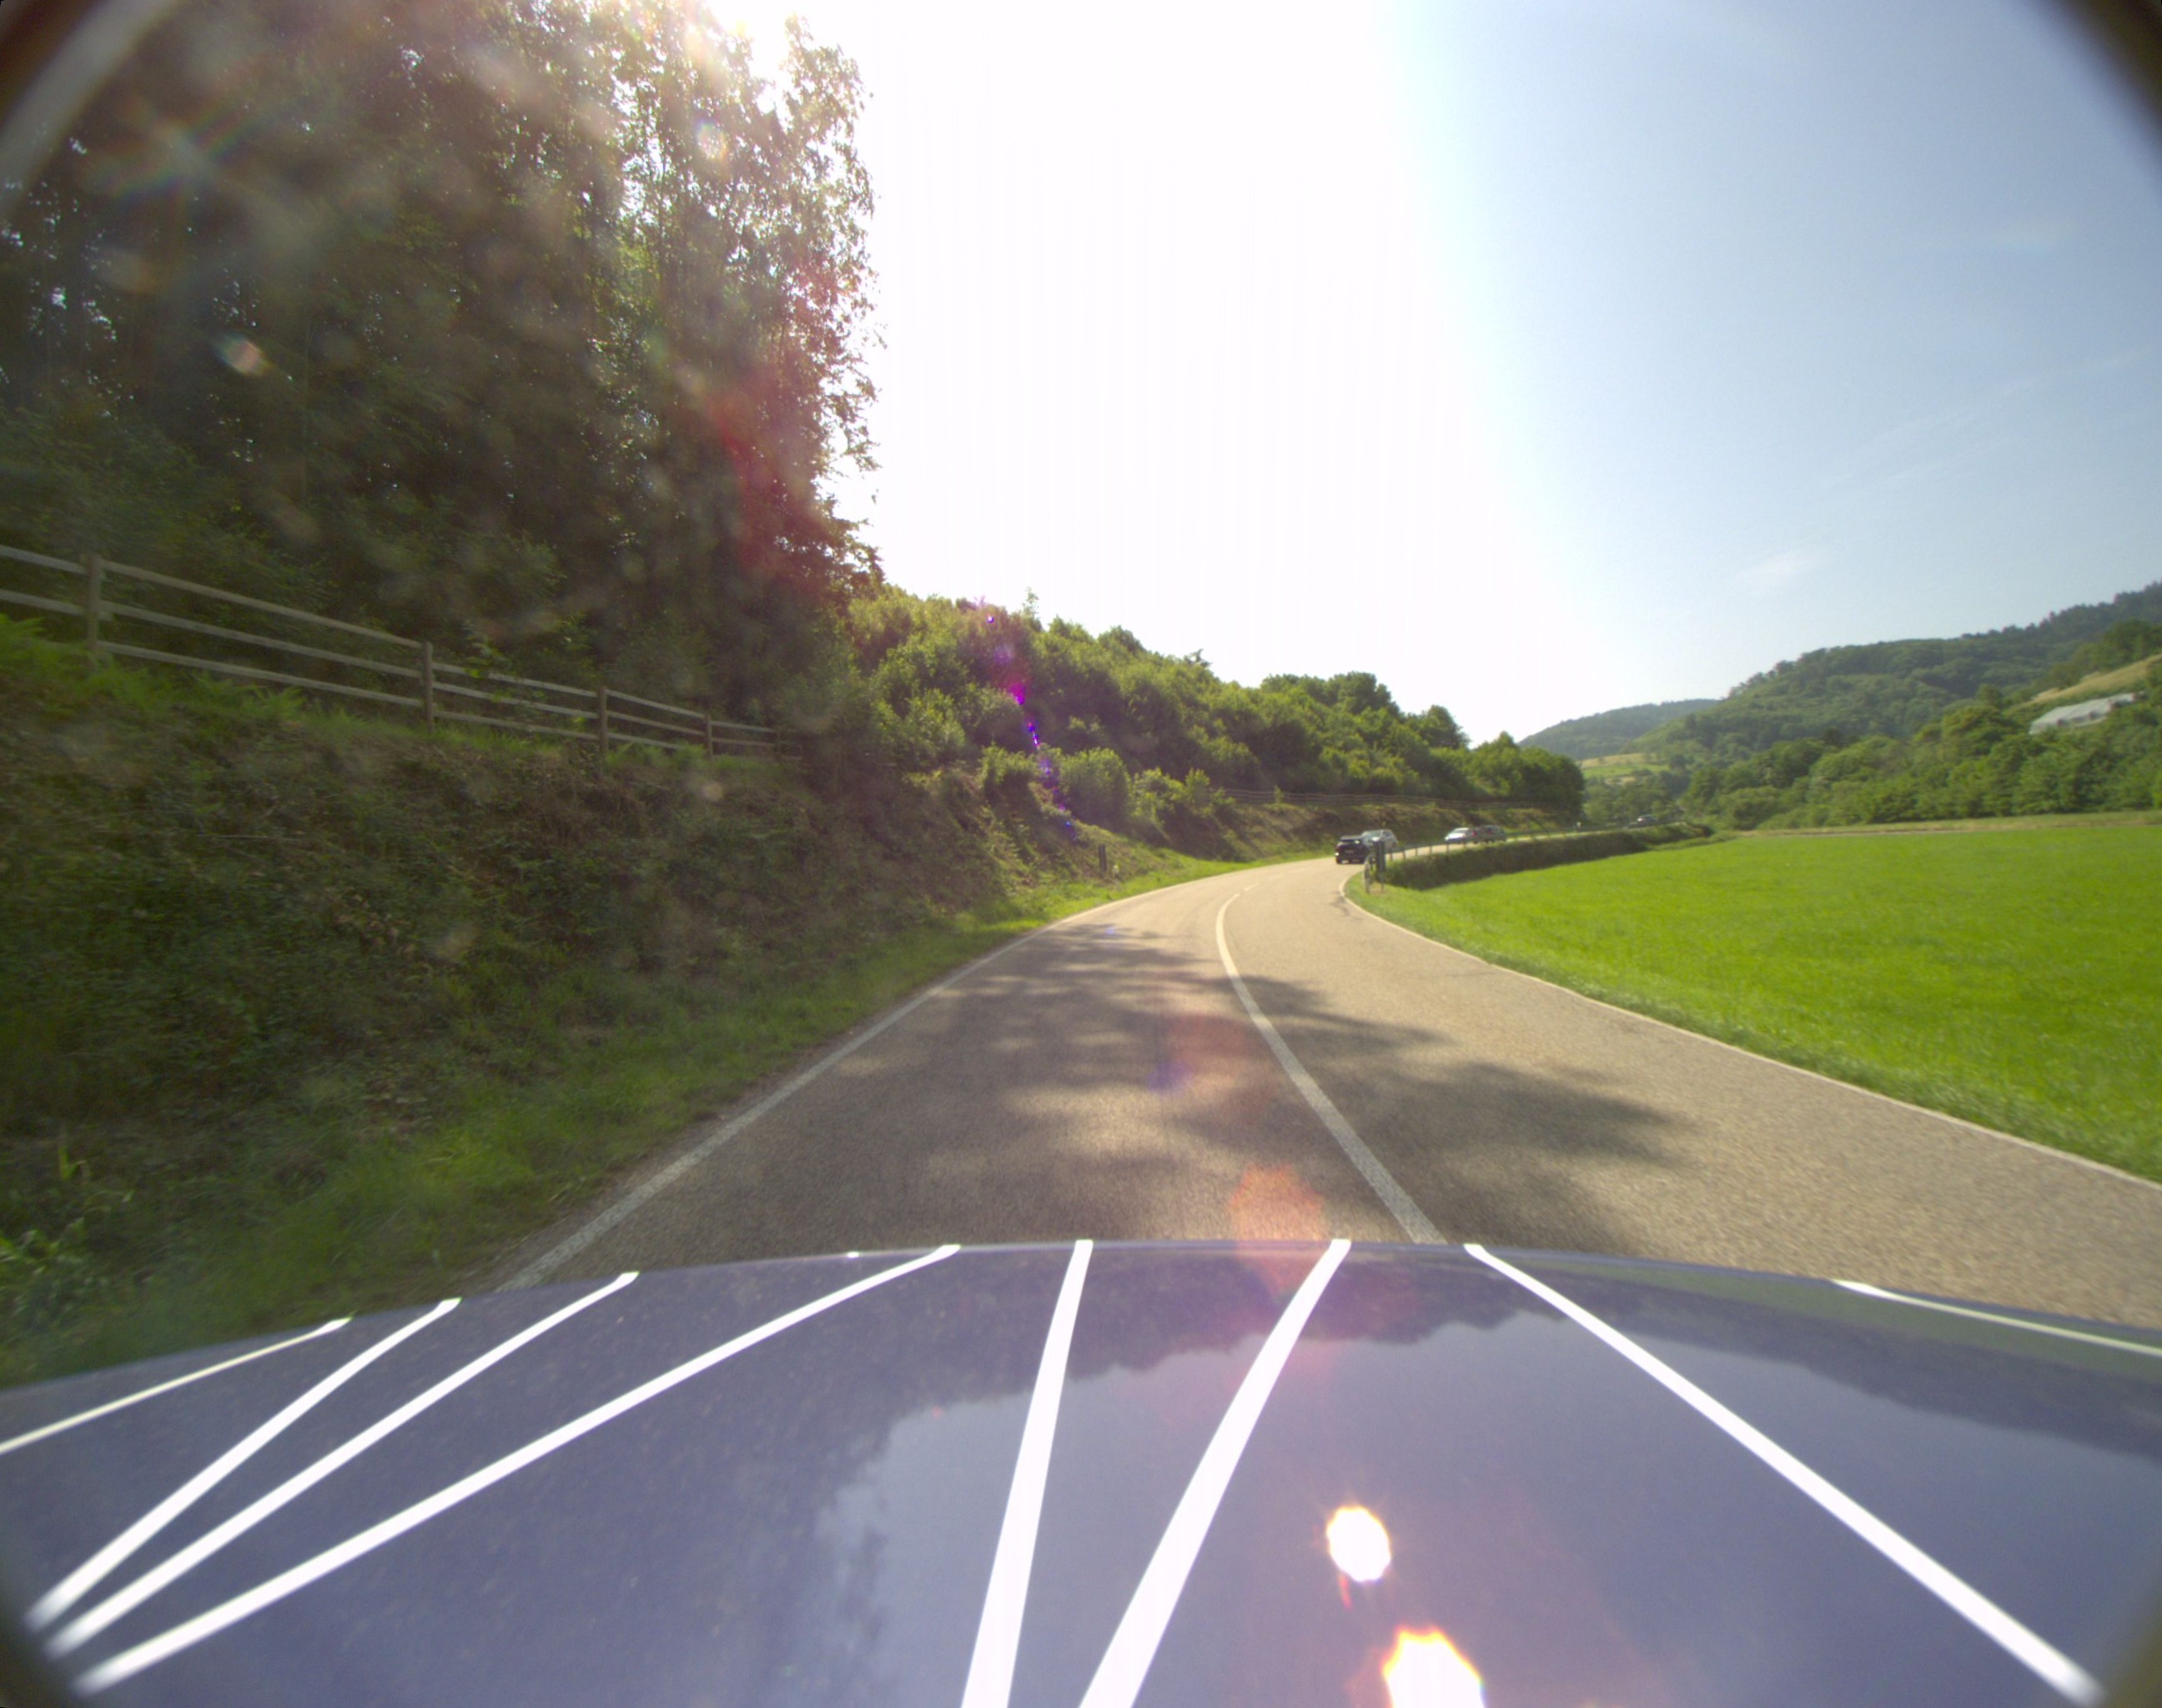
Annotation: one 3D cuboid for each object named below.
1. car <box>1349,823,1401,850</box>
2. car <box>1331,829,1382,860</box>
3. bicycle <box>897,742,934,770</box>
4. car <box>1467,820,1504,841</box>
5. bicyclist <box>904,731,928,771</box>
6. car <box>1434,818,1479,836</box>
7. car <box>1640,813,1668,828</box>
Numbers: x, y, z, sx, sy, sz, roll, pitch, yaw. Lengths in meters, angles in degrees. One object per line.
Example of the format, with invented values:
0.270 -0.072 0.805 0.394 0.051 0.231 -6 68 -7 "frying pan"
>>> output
22.359 -1.342 57.701 2.114 1.803 4.464 -4 -1 44 "car"
16.095 -0.570 44.269 1.877 1.578 4.603 -2 1 32 "car"
-6.818 -4.019 31.408 0.623 0.909 1.599 -5 -1 22 "bicycle"
35.591 -2.116 66.803 1.950 1.730 4.905 -1 2 40 "car"
-6.832 -4.246 31.436 0.624 1.515 0.614 -5 0 22 "bicyclist"
34.838 -2.482 70.512 4.681 1.482 2.142 -3 1 -42 "car"
73.968 -4.341 98.079 4.006 1.665 1.709 -3 -1 -37 "car"
